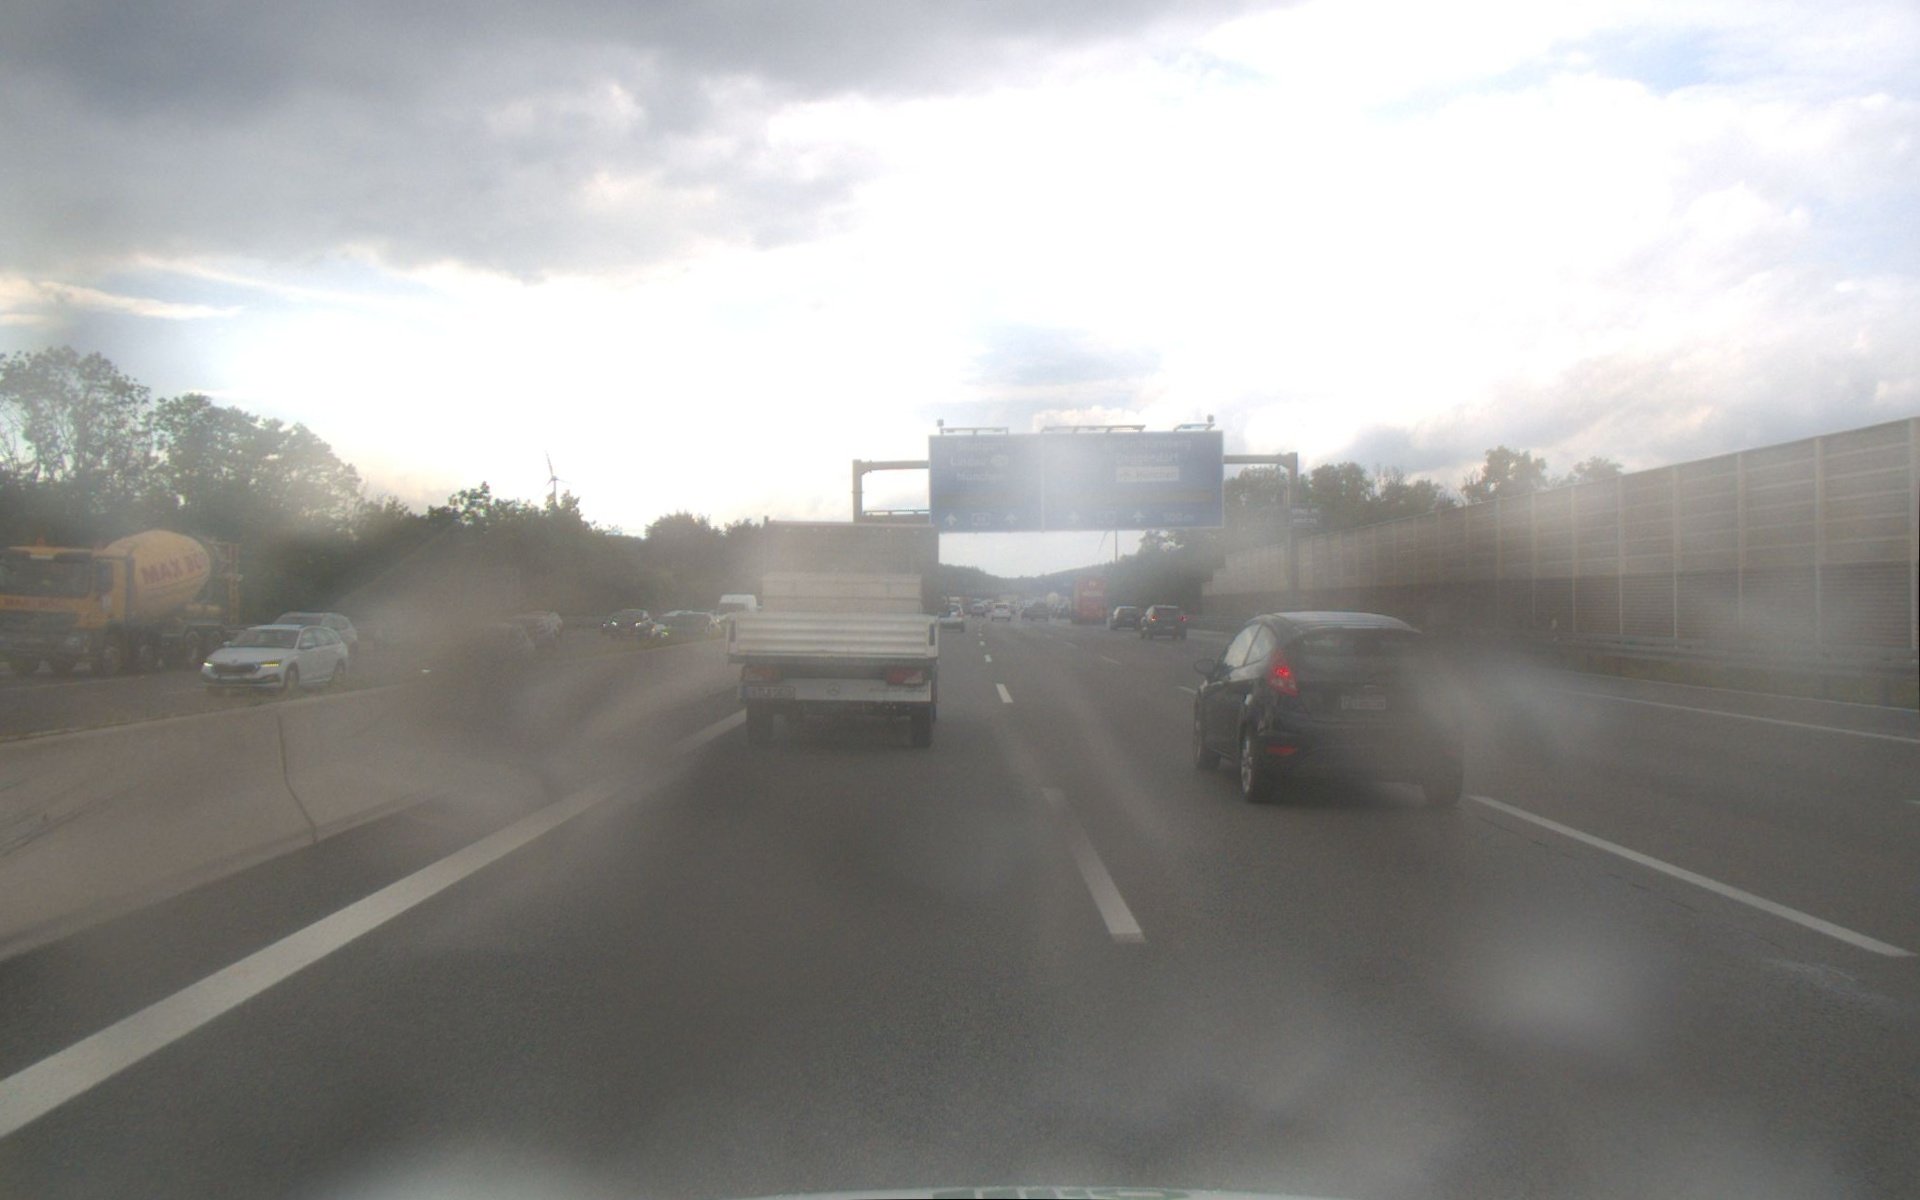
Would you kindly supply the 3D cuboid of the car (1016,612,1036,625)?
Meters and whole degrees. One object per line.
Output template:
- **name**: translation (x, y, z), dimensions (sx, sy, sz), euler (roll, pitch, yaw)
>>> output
- **car**: translation (7.895, 2.241, 198.445), dimensions (1.929, 1.588, 4.430), euler (0, -1, -3)

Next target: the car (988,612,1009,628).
- **car**: translation (3.865, 1.980, 167.077), dimensions (1.928, 1.588, 4.431), euler (0, -1, -2)

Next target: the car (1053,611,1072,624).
- **car**: translation (12.572, 2.185, 203.936), dimensions (1.928, 1.588, 4.431), euler (0, -1, -2)

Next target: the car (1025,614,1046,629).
- **car**: translation (8.049, 2.290, 176.110), dimensions (1.928, 1.588, 4.431), euler (0, -1, -2)

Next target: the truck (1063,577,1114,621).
- **truck**: translation (11.425, -0.144, 148.250), dimensions (3.089, 3.664, 12.695), euler (1, 0, -2)

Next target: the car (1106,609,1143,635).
- **car**: translation (10.539, 1.401, 106.191), dimensions (1.844, 1.588, 4.431), euler (0, -1, -2)

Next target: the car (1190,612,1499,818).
- **car**: translation (3.025, 0.828, 13.876), dimensions (1.682, 1.442, 4.279), euler (0, 0, 1)

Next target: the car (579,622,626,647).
- **car**: translation (-22.924, 2.186, 106.251), dimensions (1.942, 1.520, 4.913), euler (0, -1, 0)

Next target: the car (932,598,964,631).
- **car**: translation (-0.621, 0.762, 89.682), dimensions (1.682, 1.652, 4.278), euler (0, 1, 0)

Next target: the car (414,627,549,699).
- **car**: translation (-10.666, 1.364, 37.195), dimensions (1.688, 1.453, 4.648), euler (2, -1, -1)

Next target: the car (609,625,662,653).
- **car**: translation (-18.031, 2.151, 92.127), dimensions (1.942, 1.520, 4.913), euler (0, -1, 0)

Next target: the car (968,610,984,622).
- **car**: translation (2.043, 2.127, 217.048), dimensions (1.928, 1.588, 4.431), euler (0, 0, -2)

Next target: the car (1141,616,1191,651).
- **car**: translation (9.582, 1.556, 77.144), dimensions (1.843, 1.569, 4.433), euler (0, -1, 1)

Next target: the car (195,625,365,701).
- **car**: translation (-14.882, 1.343, 36.488), dimensions (1.688, 1.495, 4.849), euler (2, -1, 0)

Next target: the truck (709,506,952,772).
- **truck**: translation (-1.246, 0.336, 19.186), dimensions (2.260, 2.482, 7.148), euler (1, 0, 0)

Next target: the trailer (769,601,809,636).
- **trailer**: translation (-13.611, 1.492, 131.728), dimensions (2.293, 2.699, 7.184), euler (0, -1, 1)

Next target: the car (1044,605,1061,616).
- **car**: translation (12.734, 1.450, 227.783), dimensions (1.928, 1.588, 4.431), euler (0, -1, -2)

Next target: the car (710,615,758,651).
- **car**: translation (-10.966, 1.593, 80.566), dimensions (1.688, 1.631, 4.912), euler (2, -1, -1)

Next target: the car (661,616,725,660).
- **car**: translation (-10.574, 1.465, 65.767), dimensions (1.688, 1.631, 4.913), euler (2, -1, 0)

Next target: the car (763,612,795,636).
- **car**: translation (-13.767, 1.826, 125.829), dimensions (1.780, 1.707, 4.478), euler (1, -1, 1)

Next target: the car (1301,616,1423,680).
- **car**: translation (9.608, 1.124, 39.862), dimensions (1.910, 1.443, 4.232), euler (0, 0, 0)

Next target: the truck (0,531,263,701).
- **truck**: translation (-22.406, 0.412, 44.926), dimensions (2.855, 4.085, 9.582), euler (1, 0, 0)

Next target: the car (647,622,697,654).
- **car**: translation (-14.602, 1.910, 83.951), dimensions (1.688, 1.520, 4.912), euler (2, -1, -1)

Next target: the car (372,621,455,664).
- **car**: translation (-22.018, 1.682, 66.839), dimensions (1.688, 1.631, 4.913), euler (2, -1, 0)
